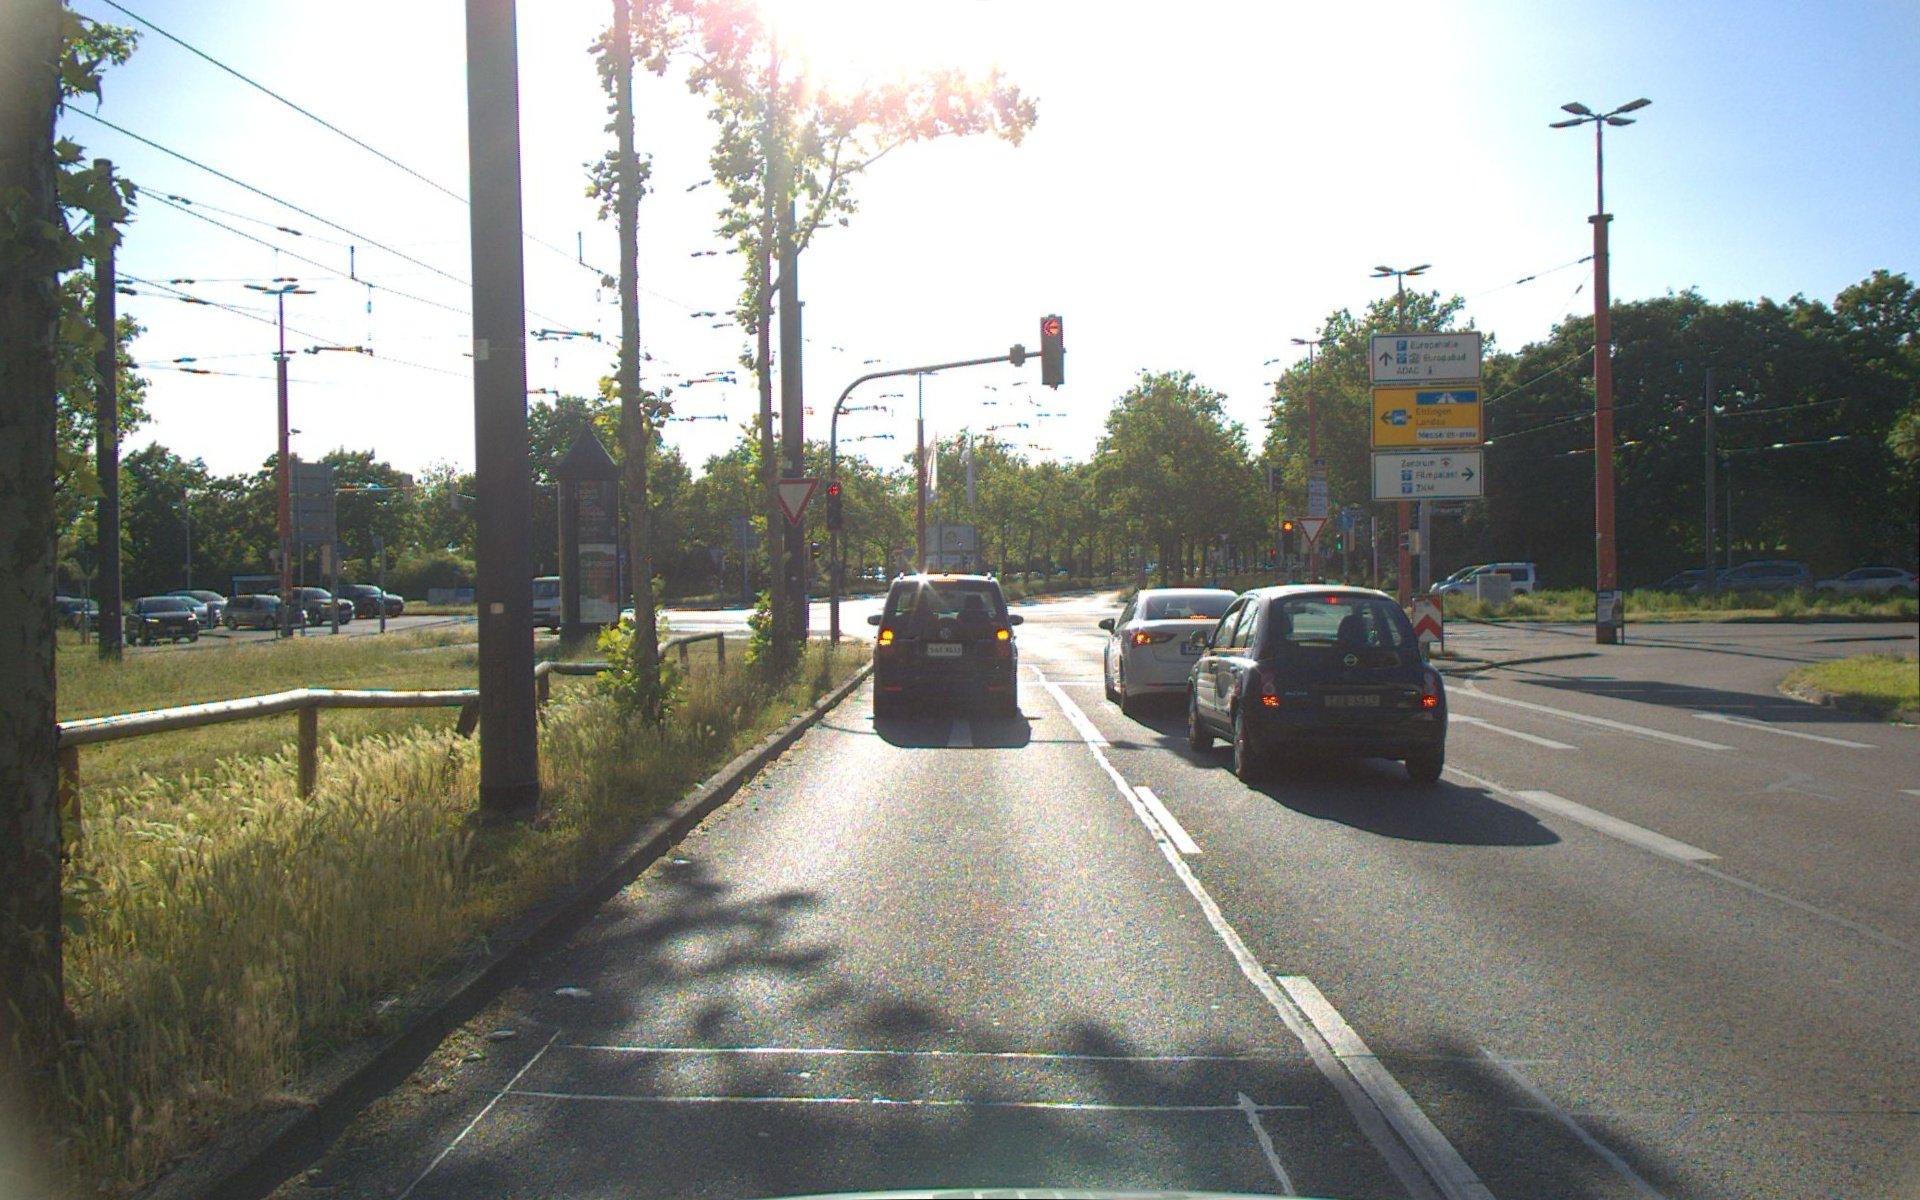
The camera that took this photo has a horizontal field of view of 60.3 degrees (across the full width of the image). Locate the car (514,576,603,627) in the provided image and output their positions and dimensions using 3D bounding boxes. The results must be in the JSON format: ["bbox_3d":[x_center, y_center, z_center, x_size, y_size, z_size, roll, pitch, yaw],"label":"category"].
[{"bbox_3d":[-14.937,0.046,61.734,1.784,1.811,4.570,0,0,6],"label":"car"}]

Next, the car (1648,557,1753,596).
[{"bbox_3d":[30.883,-0.978,68.978,3.909,1.588,1.898,0,0,27],"label":"car"}]

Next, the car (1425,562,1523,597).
[{"bbox_3d":[22.700,-0.914,73.033,3.908,1.502,1.788,0,0,26],"label":"car"}]

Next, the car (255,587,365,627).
[{"bbox_3d":[-29.410,0.319,74.834,4.391,1.638,1.901,-1,3,19],"label":"car"}]

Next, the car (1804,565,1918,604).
[{"bbox_3d":[35.957,-0.626,66.108,3.909,1.521,1.859,0,0,27],"label":"car"}]

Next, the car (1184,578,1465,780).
[{"bbox_3d":[2.998,0.580,14.289,1.605,1.520,3.503,0,1,-1],"label":"car"}]

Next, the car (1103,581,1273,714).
[{"bbox_3d":[2.766,0.531,20.825,1.644,1.500,4.131,0,0,1],"label":"car"}]

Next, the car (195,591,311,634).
[{"bbox_3d":[-30.552,0.536,71.518,4.391,1.638,1.901,-1,3,19],"label":"car"}]

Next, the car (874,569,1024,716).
[{"bbox_3d":[-0.150,0.473,20.280,1.675,1.631,3.349,1,0,-1],"label":"car"}]

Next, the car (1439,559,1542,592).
[{"bbox_3d":[22.358,-1.016,69.720,3.909,1.361,1.727,0,0,26],"label":"car"}]

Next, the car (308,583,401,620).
[{"bbox_3d":[-29.816,0.064,81.496,3.903,1.649,1.901,-1,3,19],"label":"car"}]

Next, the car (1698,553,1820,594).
[{"bbox_3d":[31.383,-1.036,65.090,4.265,1.586,1.871,0,0,25],"label":"car"}]

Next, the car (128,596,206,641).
[{"bbox_3d":[-28.966,0.637,60.323,1.878,1.570,4.445,0,0,-35],"label":"car"}]

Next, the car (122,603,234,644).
[{"bbox_3d":[-35.048,1.037,74.153,4.391,1.638,1.901,-1,2,19],"label":"car"}]
